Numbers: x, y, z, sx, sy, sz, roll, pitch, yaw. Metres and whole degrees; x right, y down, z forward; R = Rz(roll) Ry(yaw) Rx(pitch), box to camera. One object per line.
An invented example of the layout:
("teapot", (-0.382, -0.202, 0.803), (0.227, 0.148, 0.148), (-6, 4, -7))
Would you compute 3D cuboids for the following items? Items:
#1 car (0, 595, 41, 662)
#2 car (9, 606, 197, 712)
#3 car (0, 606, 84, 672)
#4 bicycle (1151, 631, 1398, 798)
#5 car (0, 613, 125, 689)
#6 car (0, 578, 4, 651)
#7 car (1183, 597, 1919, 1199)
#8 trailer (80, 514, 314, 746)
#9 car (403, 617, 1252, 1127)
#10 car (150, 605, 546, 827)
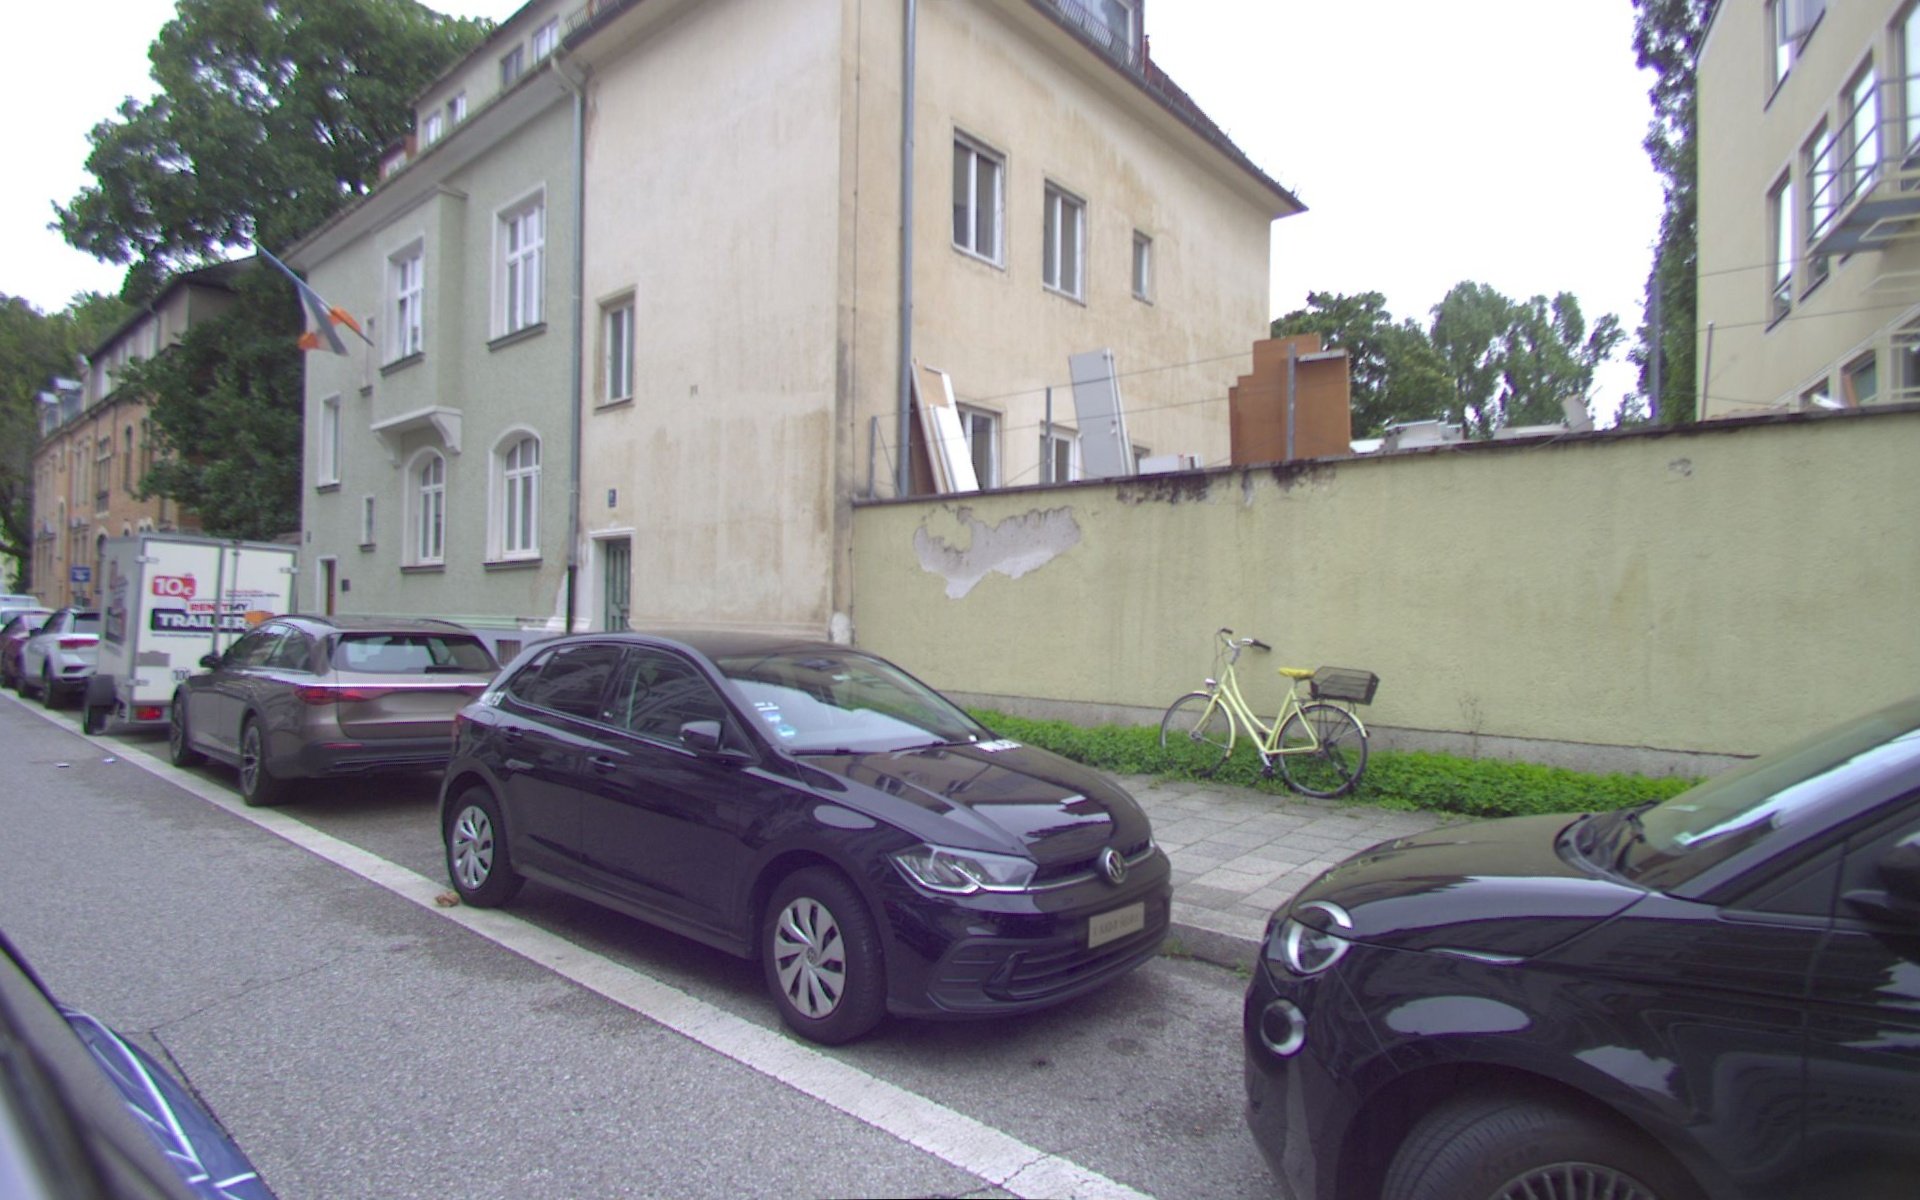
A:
("car", (-26.719, 0.763, 27.772), (3.648, 1.747, 1.794), (-1, -1, 41))
("car", (-14.018, 0.891, 16.494), (3.840, 1.525, 1.745), (0, -2, 41))
("car", (-22.235, 0.879, 23.848), (3.925, 1.463, 1.795), (0, -1, 40))
("bicycle", (2.394, 0.819, 7.825), (1.741, 1.140, 0.573), (0, -1, 39))
("car", (-17.899, 0.937, 19.884), (3.745, 1.357, 1.794), (-1, -1, 42))
("car", (-34.411, 0.494, 34.667), (4.549, 2.451, 2.076), (-1, -1, 43))
("car", (2.369, 0.760, 1.828), (3.483, 1.505, 1.686), (0, -1, 36))
("trailer", (-9.848, 0.407, 12.990), (1.792, 2.555, 3.391), (7, -5, -44))
("car", (-0.877, 0.832, 4.853), (4.065, 1.436, 1.676), (0, -2, 38))
("car", (-5.711, 0.838, 9.164), (4.642, 1.511, 1.794), (-1, -2, 42))
